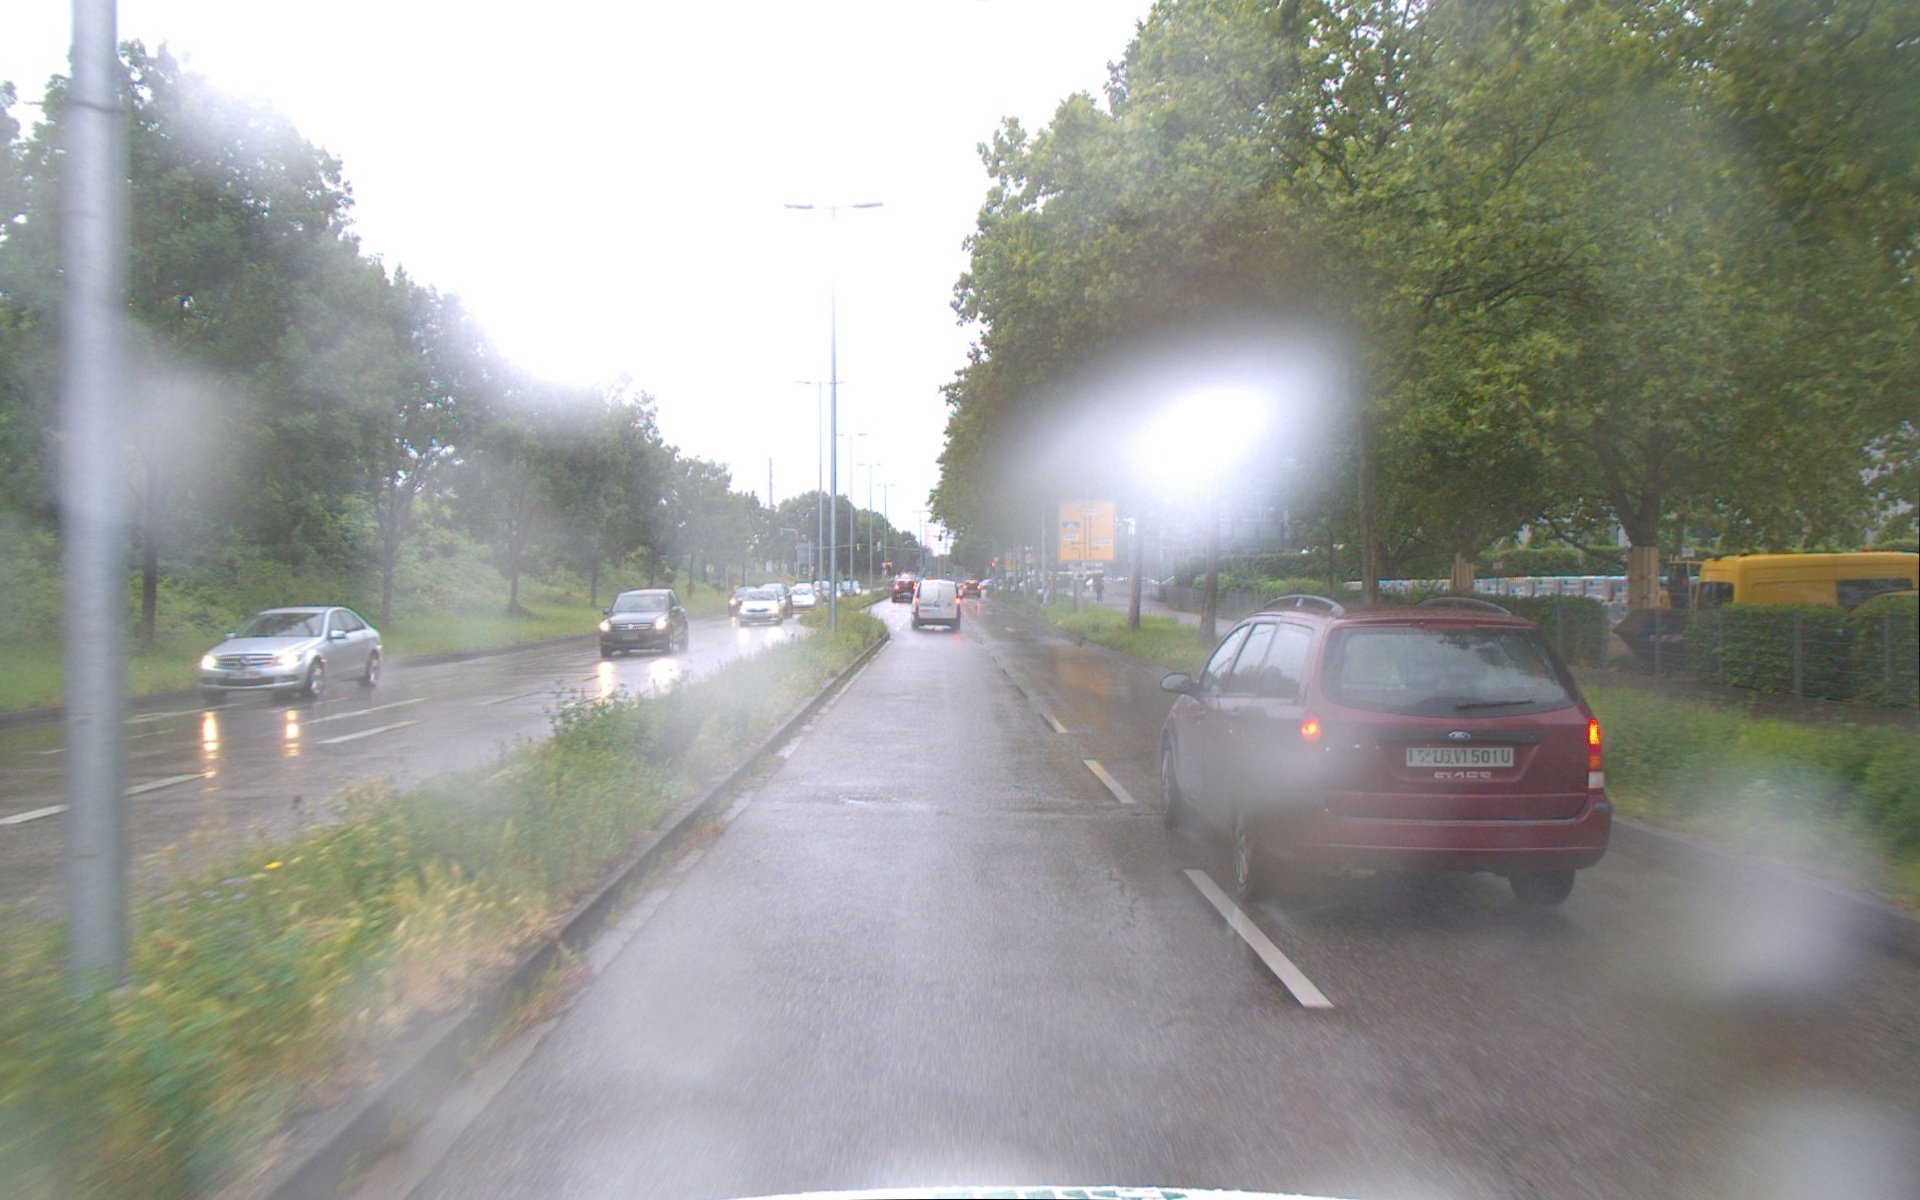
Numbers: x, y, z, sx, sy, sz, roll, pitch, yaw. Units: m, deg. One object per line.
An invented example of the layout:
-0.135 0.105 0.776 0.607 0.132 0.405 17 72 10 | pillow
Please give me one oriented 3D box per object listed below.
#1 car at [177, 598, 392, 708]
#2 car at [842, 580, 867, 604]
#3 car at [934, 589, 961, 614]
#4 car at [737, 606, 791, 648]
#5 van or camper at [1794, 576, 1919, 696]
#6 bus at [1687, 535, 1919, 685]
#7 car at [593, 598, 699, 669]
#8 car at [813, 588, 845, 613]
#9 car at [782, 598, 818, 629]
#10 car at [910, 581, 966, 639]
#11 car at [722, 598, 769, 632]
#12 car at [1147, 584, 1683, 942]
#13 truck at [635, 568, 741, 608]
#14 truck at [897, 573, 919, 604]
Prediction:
-11.123 0.804 27.597 1.860 1.641 4.476 -1 0 -2 | car
-9.153 -0.707 143.373 1.787 1.601 4.362 5 5 -1 | car
-0.845 0.089 111.846 1.674 1.577 3.999 0 1 -2 | car
-8.107 1.102 68.680 1.860 1.641 4.110 -1 0 -2 | car
16.408 0.591 27.811 3.909 1.940 1.800 1 0 -5 | van or camper
16.388 0.176 30.947 4.694 2.693 2.000 0 0 0 | bus
-8.030 0.815 42.643 1.859 1.641 4.111 -2 0 0 | car
-9.266 0.009 117.522 1.870 1.601 4.708 -3 1 -1 | car
-8.861 0.722 91.432 1.872 1.601 4.703 -2 0 -6 | car
-0.839 0.401 61.383 1.953 2.049 3.998 1 -1 -2 | car
-11.692 0.773 90.417 1.953 1.717 4.708 -2 1 -1 | car
2.258 0.722 9.401 1.802 1.563 4.110 1 0 -2 | car
-26.163 -1.110 159.300 10.035 3.512 2.622 1 -1 -38 | truck
-4.192 -0.921 133.751 1.721 2.509 3.998 1 0 -2 | truck
